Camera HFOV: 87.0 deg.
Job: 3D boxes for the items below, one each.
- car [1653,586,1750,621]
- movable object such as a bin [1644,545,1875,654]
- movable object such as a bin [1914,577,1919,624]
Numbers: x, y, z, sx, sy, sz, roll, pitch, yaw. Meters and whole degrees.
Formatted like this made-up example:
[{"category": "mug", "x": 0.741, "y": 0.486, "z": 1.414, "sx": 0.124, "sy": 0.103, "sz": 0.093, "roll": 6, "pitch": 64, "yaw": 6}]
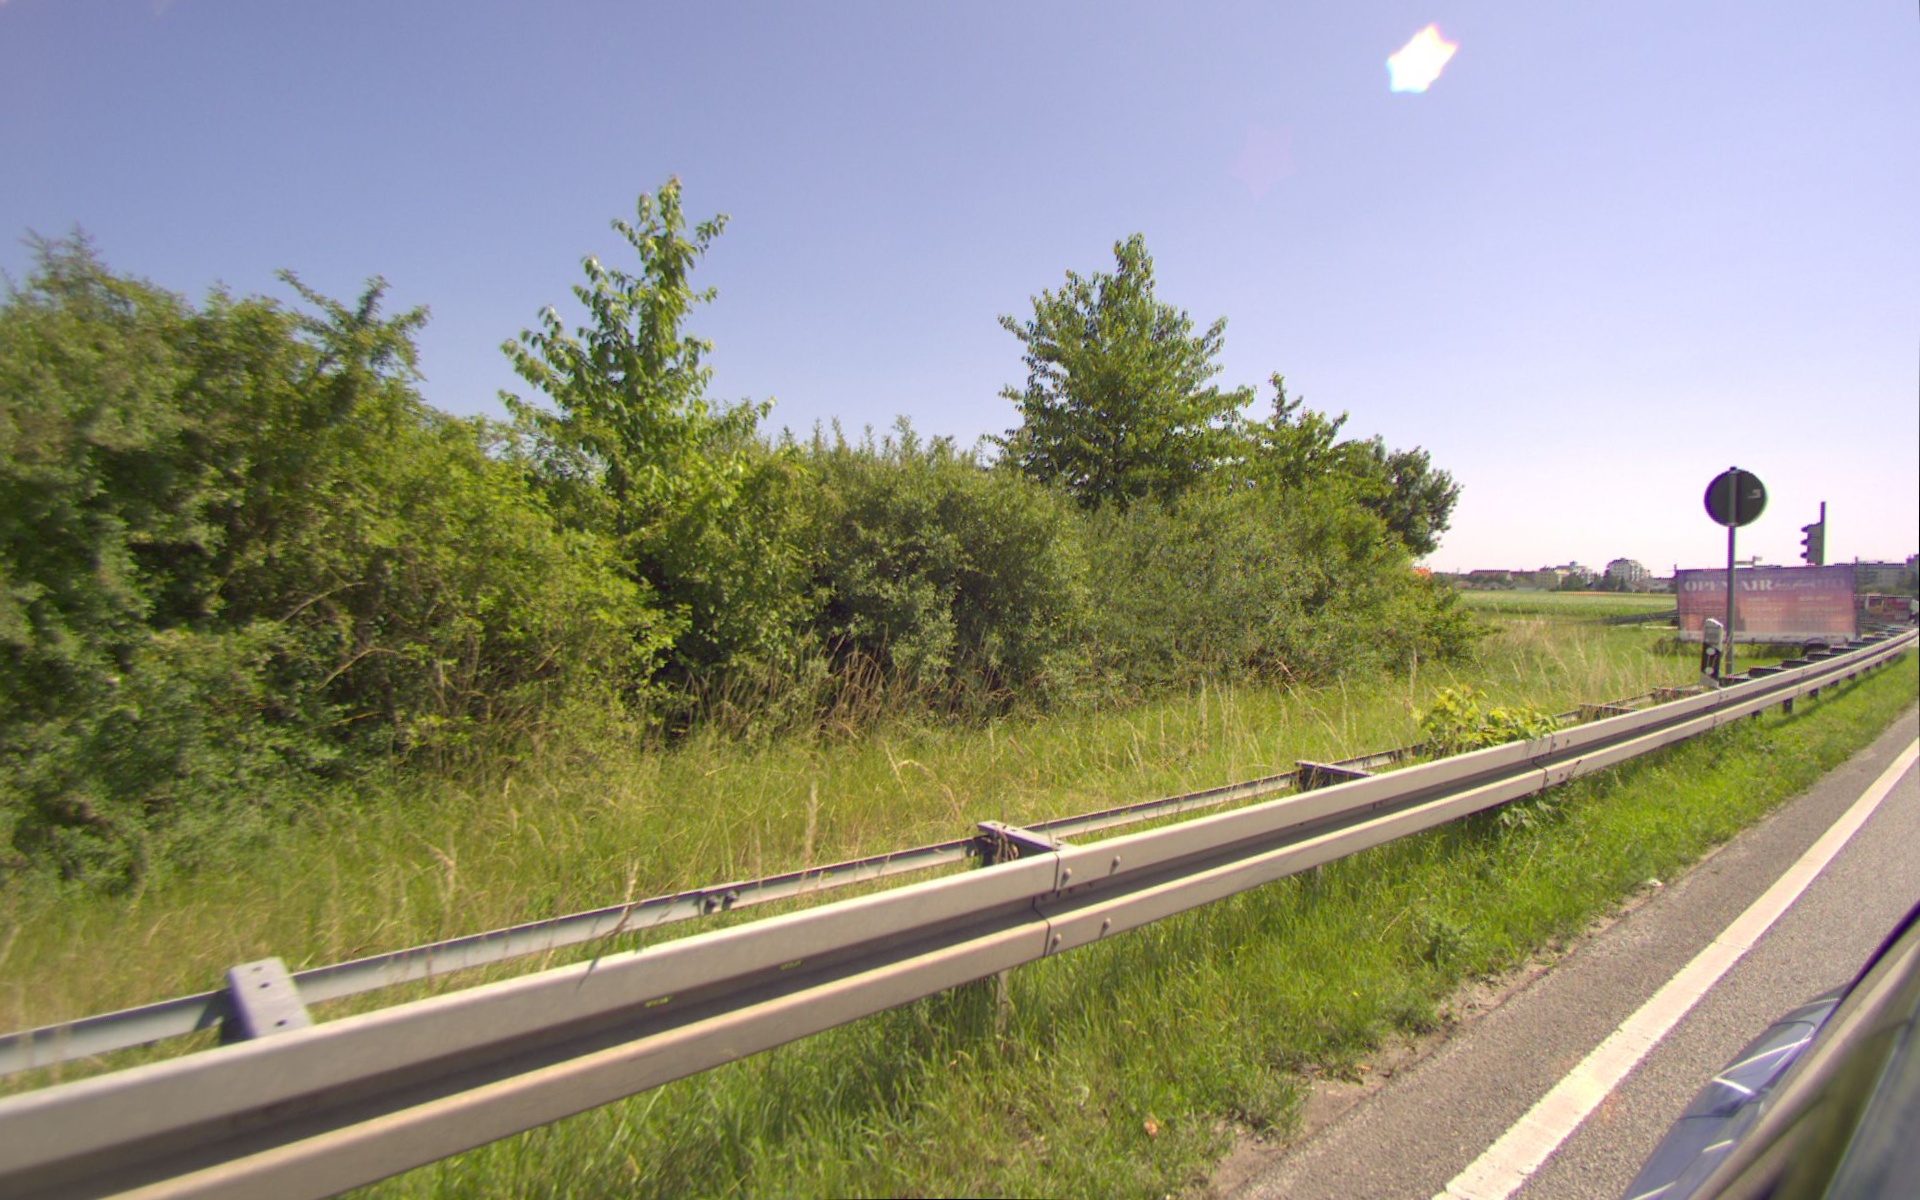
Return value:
[{"category": "car", "x": 33.149, "y": 0.121, "z": 45.284, "sx": 1.378, "sy": 1.518, "sz": 3.337, "roll": 0, "pitch": 1, "yaw": -45}, {"category": "movable object such as a bin", "x": 18.658, "y": -0.005, "z": 23.781, "sx": 1.256, "sy": 2.361, "sz": 4.097, "roll": 0, "pitch": 0, "yaw": -43}, {"category": "movable object such as a bin", "x": 51.538, "y": -0.017, "z": 52.293, "sx": 4.332, "sy": 2.393, "sz": 1.529, "roll": -1, "pitch": 0, "yaw": -21}]
